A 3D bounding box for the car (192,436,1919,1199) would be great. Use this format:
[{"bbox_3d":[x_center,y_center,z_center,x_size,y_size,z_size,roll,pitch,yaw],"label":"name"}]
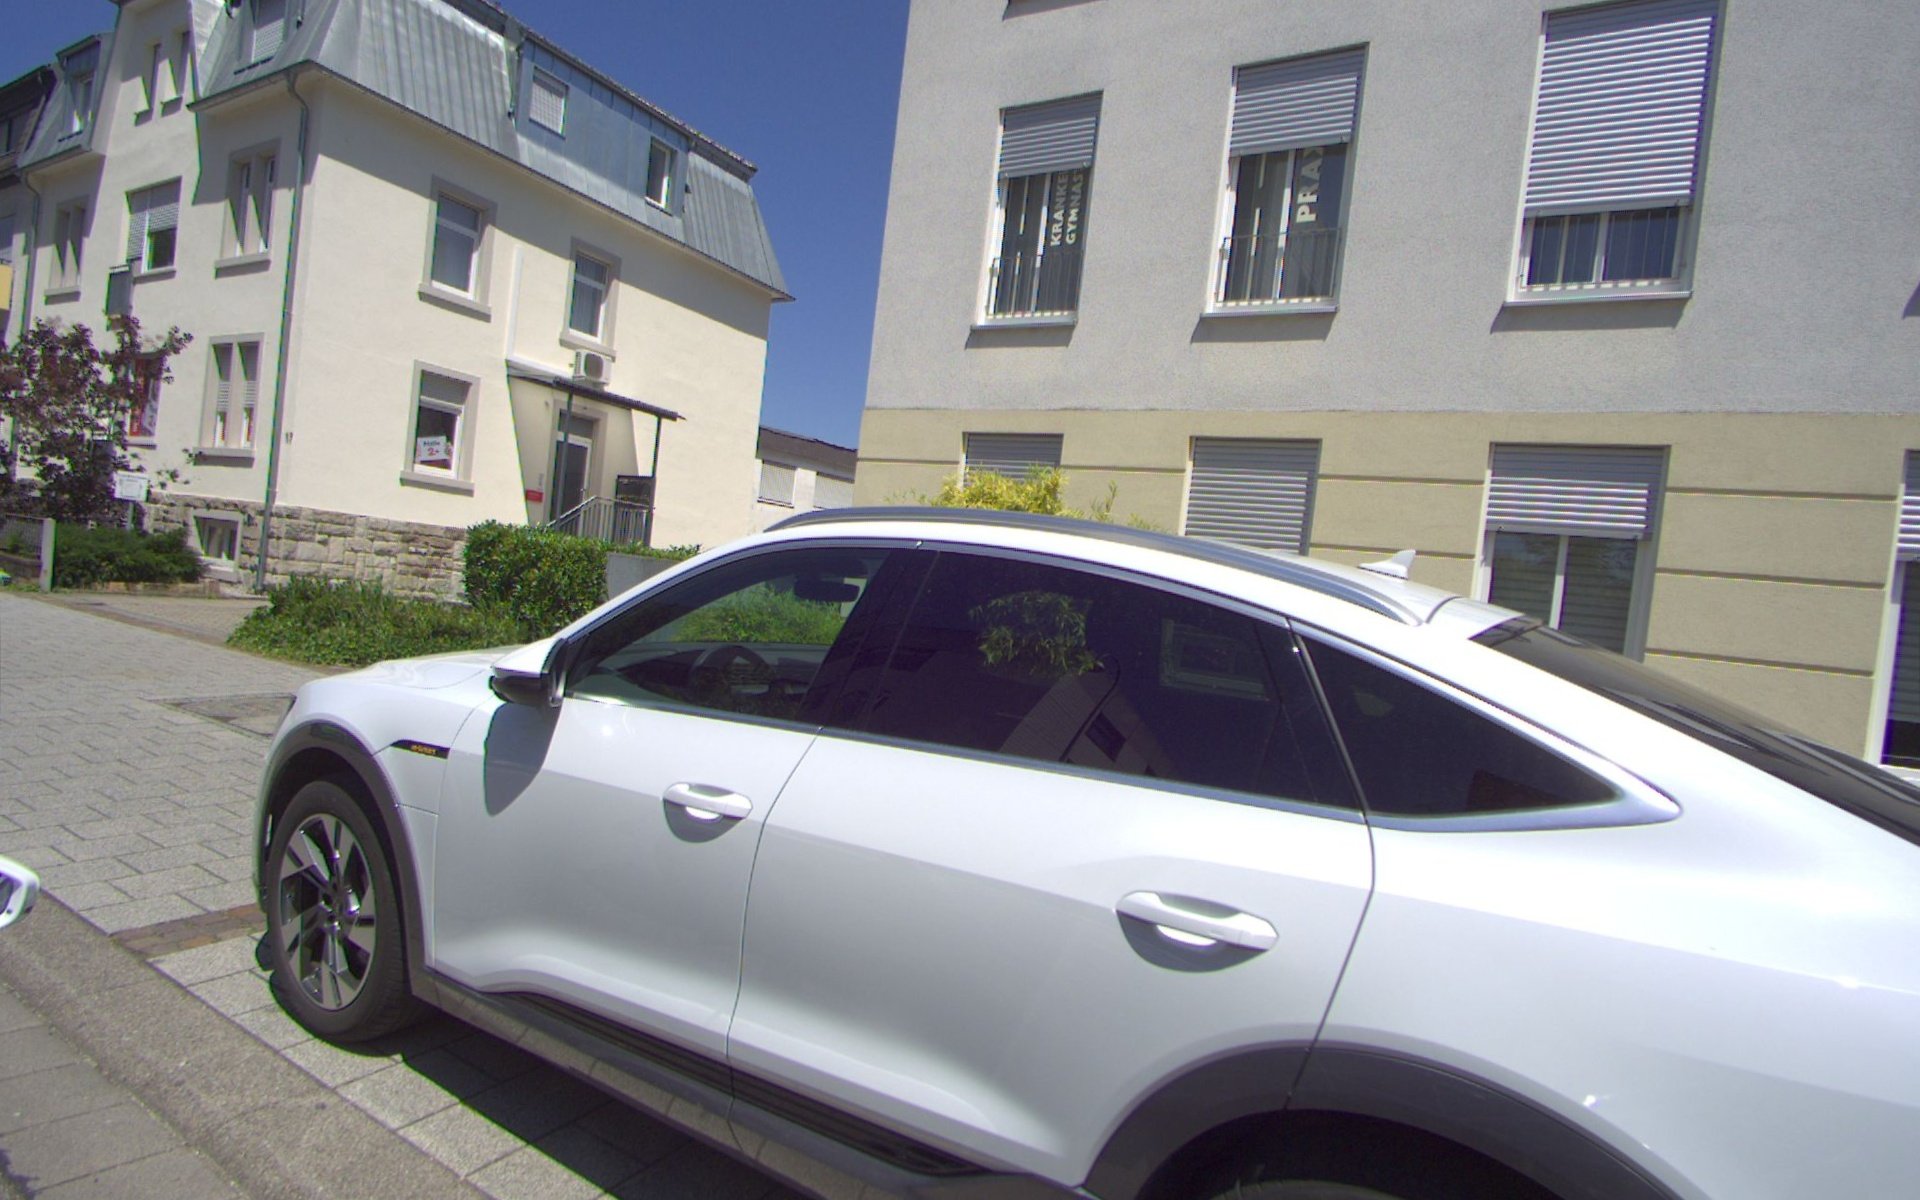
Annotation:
[{"bbox_3d":[-0.097,0.552,2.754,4.504,1.689,1.704,7,3,32],"label":"car"}]
